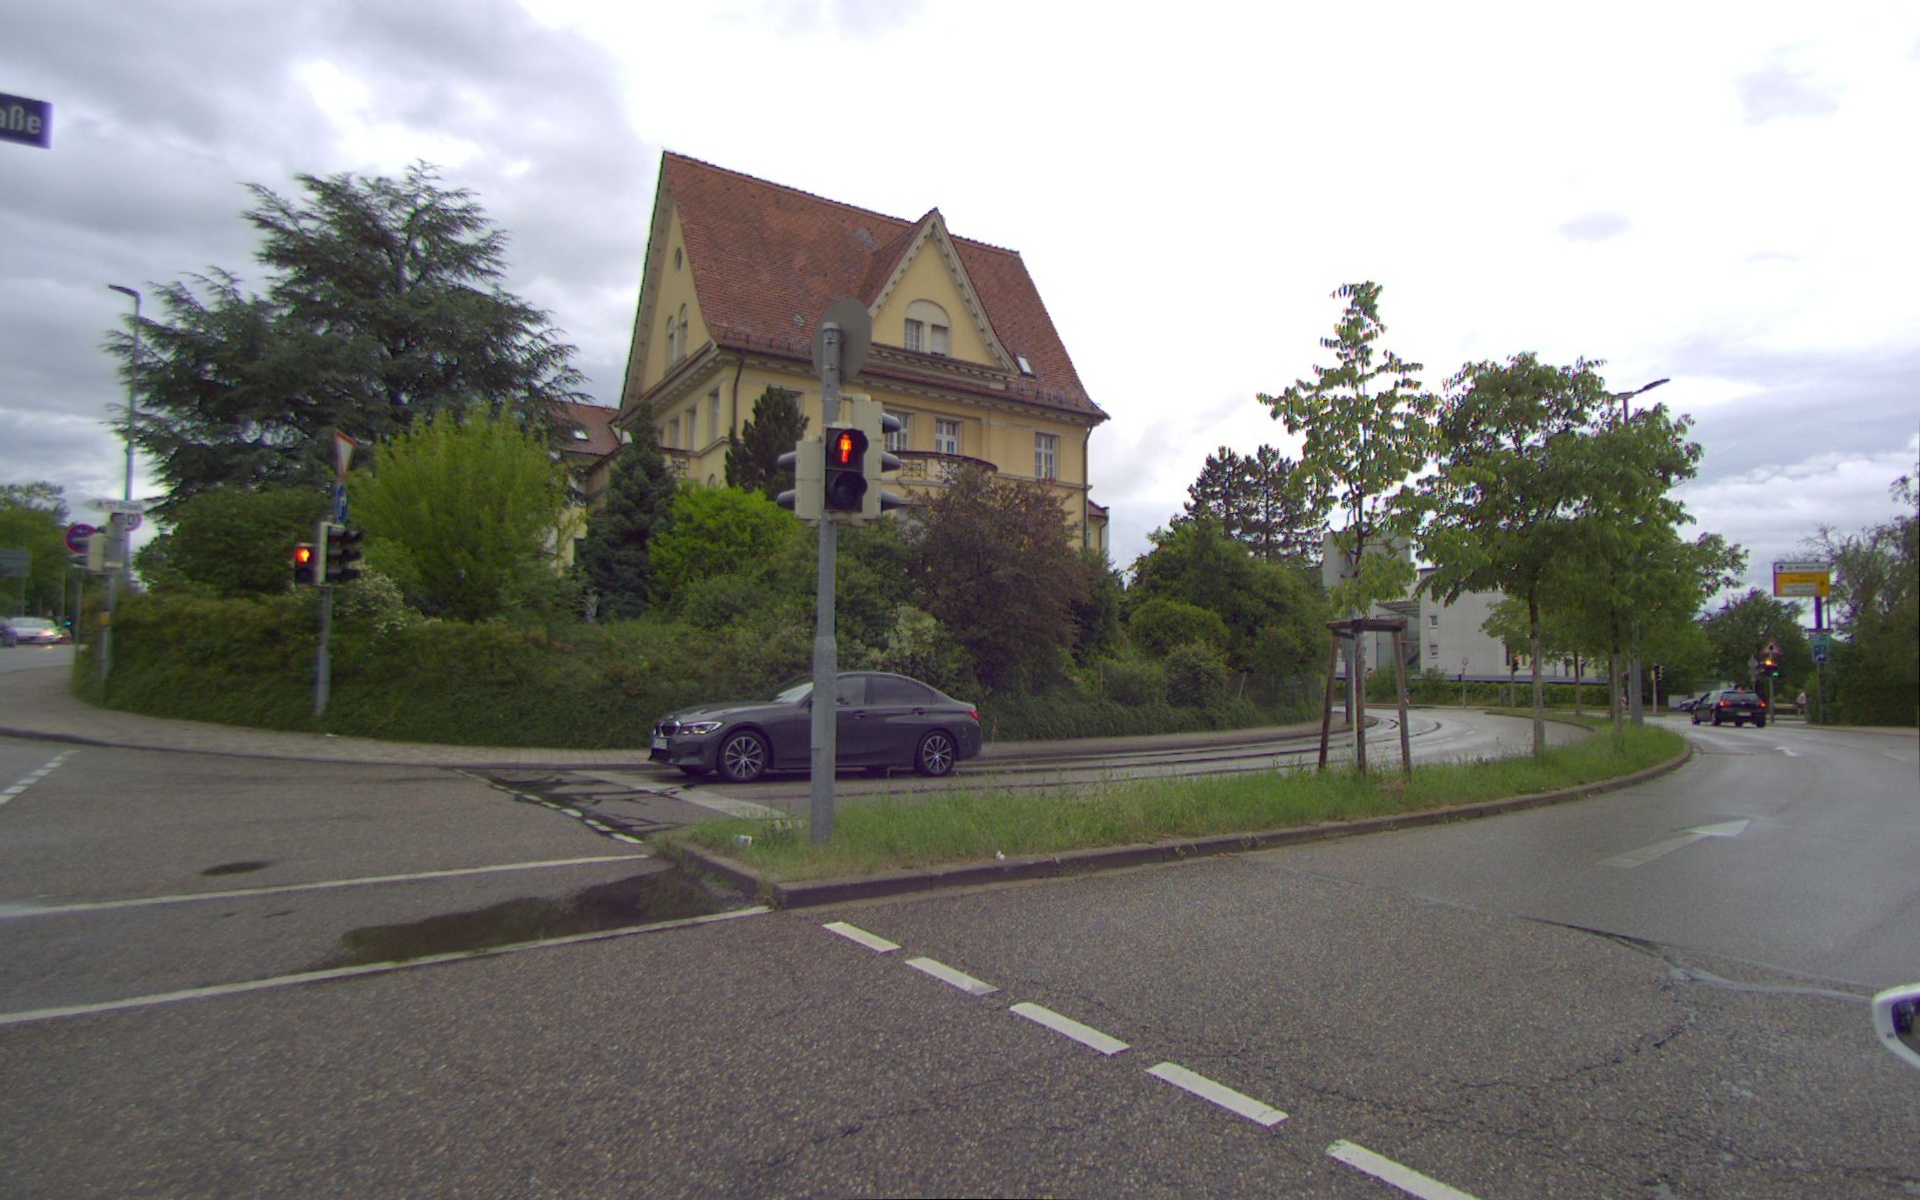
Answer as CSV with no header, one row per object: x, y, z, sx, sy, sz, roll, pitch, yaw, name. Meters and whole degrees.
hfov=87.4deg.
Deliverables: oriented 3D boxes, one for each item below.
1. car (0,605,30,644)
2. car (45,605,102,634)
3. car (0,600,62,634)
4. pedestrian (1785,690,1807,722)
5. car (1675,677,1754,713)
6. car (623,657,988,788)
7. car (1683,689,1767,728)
-43.297,1.063,44.770,1.848,1.623,3.966,3,-1,-31,car
-54.016,1.184,61.269,1.848,1.623,3.966,3,-1,-31,car
-47.495,0.830,51.175,1.848,1.623,3.966,3,-1,-31,car
56.353,7.136,67.709,0.785,2.040,0.850,1,-3,13,pedestrian
50.100,6.261,66.710,3.946,2.040,1.969,1,-1,45,car
-1.998,1.566,13.674,4.506,1.456,1.979,4,-3,-37,car
32.177,4.532,42.358,1.821,1.447,4.001,1,-4,22,car
